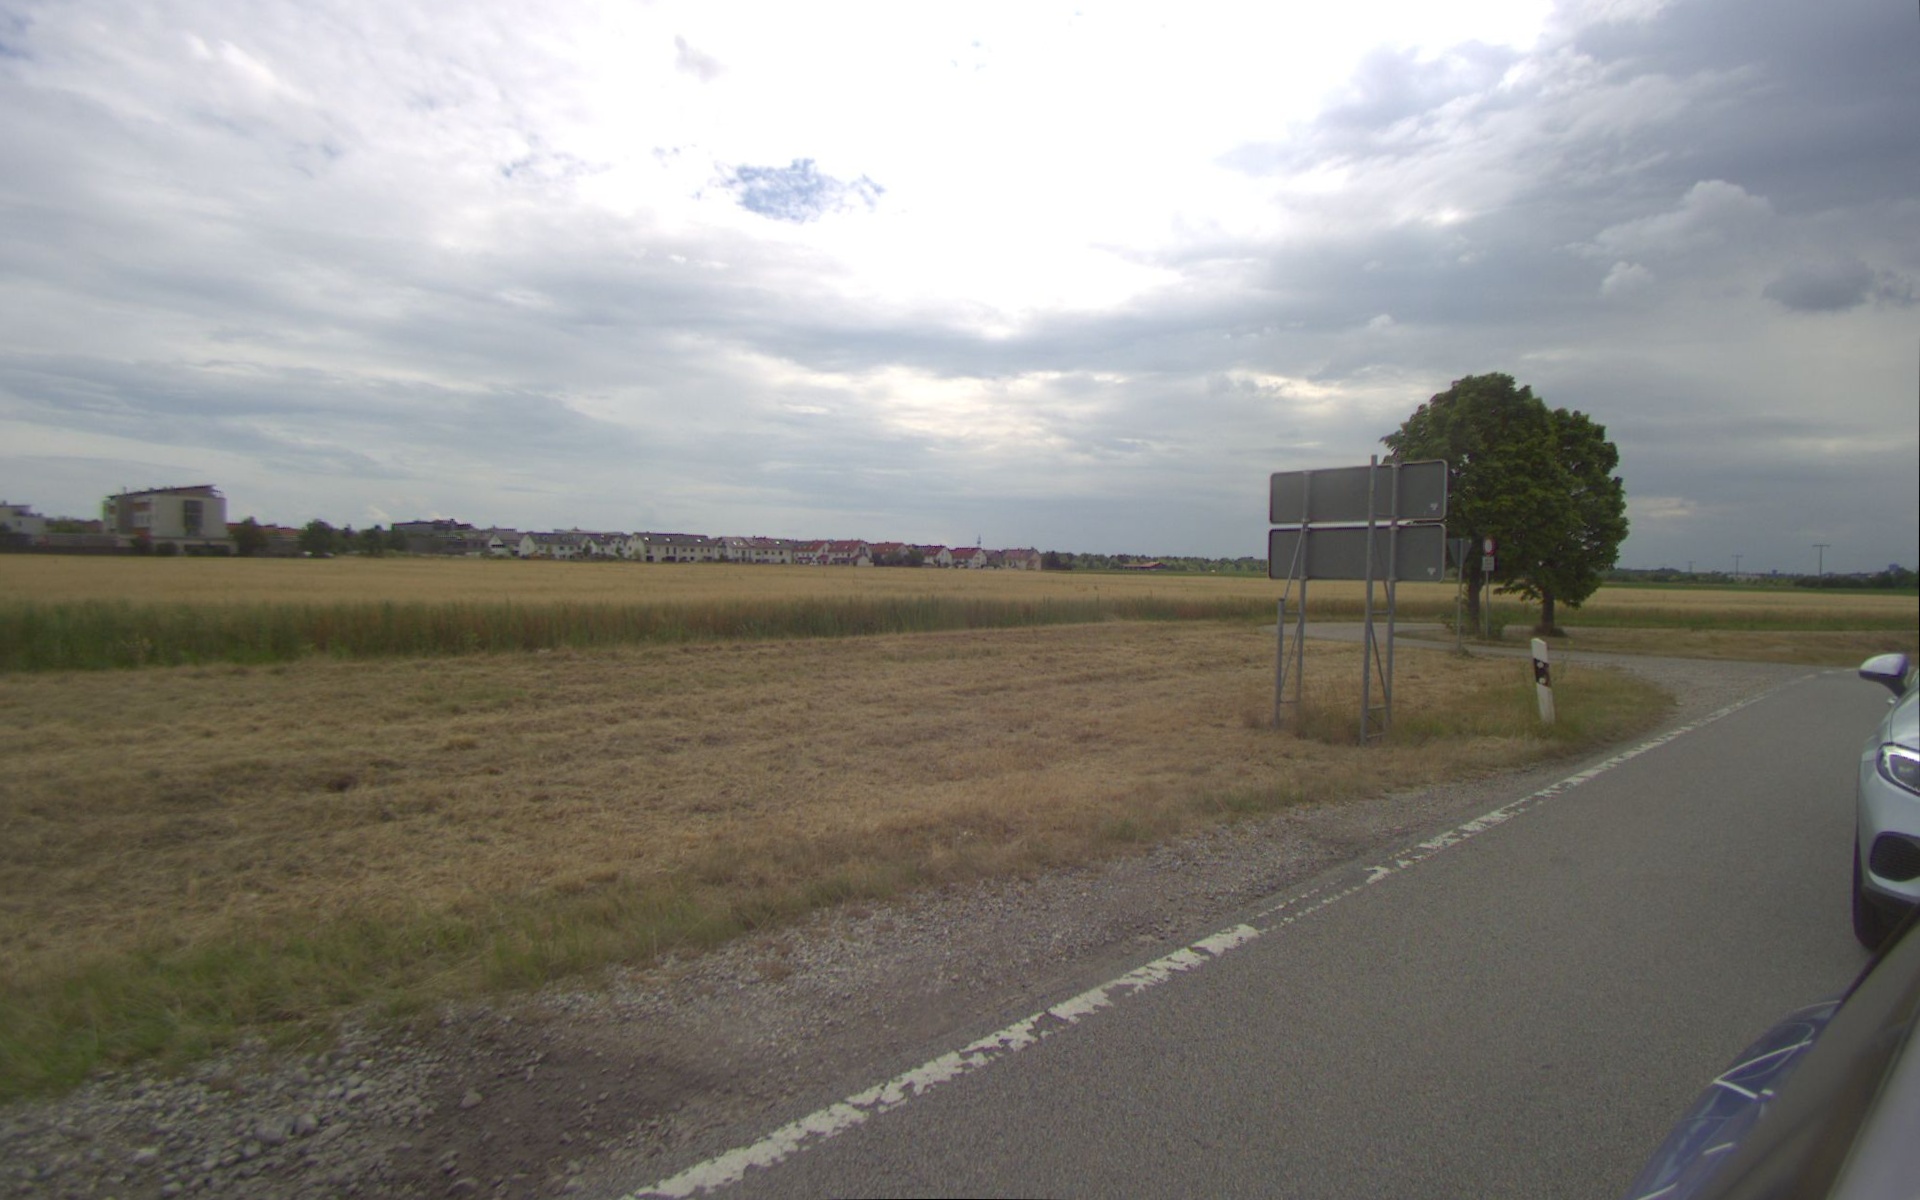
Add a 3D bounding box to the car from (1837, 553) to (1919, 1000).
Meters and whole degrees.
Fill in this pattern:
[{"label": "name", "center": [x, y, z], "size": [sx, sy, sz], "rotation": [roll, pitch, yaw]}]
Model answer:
[{"label": "car", "center": [5.501, 0.645, 4.653], "size": [4.376, 1.606, 1.833], "rotation": [0, 1, -44]}]
